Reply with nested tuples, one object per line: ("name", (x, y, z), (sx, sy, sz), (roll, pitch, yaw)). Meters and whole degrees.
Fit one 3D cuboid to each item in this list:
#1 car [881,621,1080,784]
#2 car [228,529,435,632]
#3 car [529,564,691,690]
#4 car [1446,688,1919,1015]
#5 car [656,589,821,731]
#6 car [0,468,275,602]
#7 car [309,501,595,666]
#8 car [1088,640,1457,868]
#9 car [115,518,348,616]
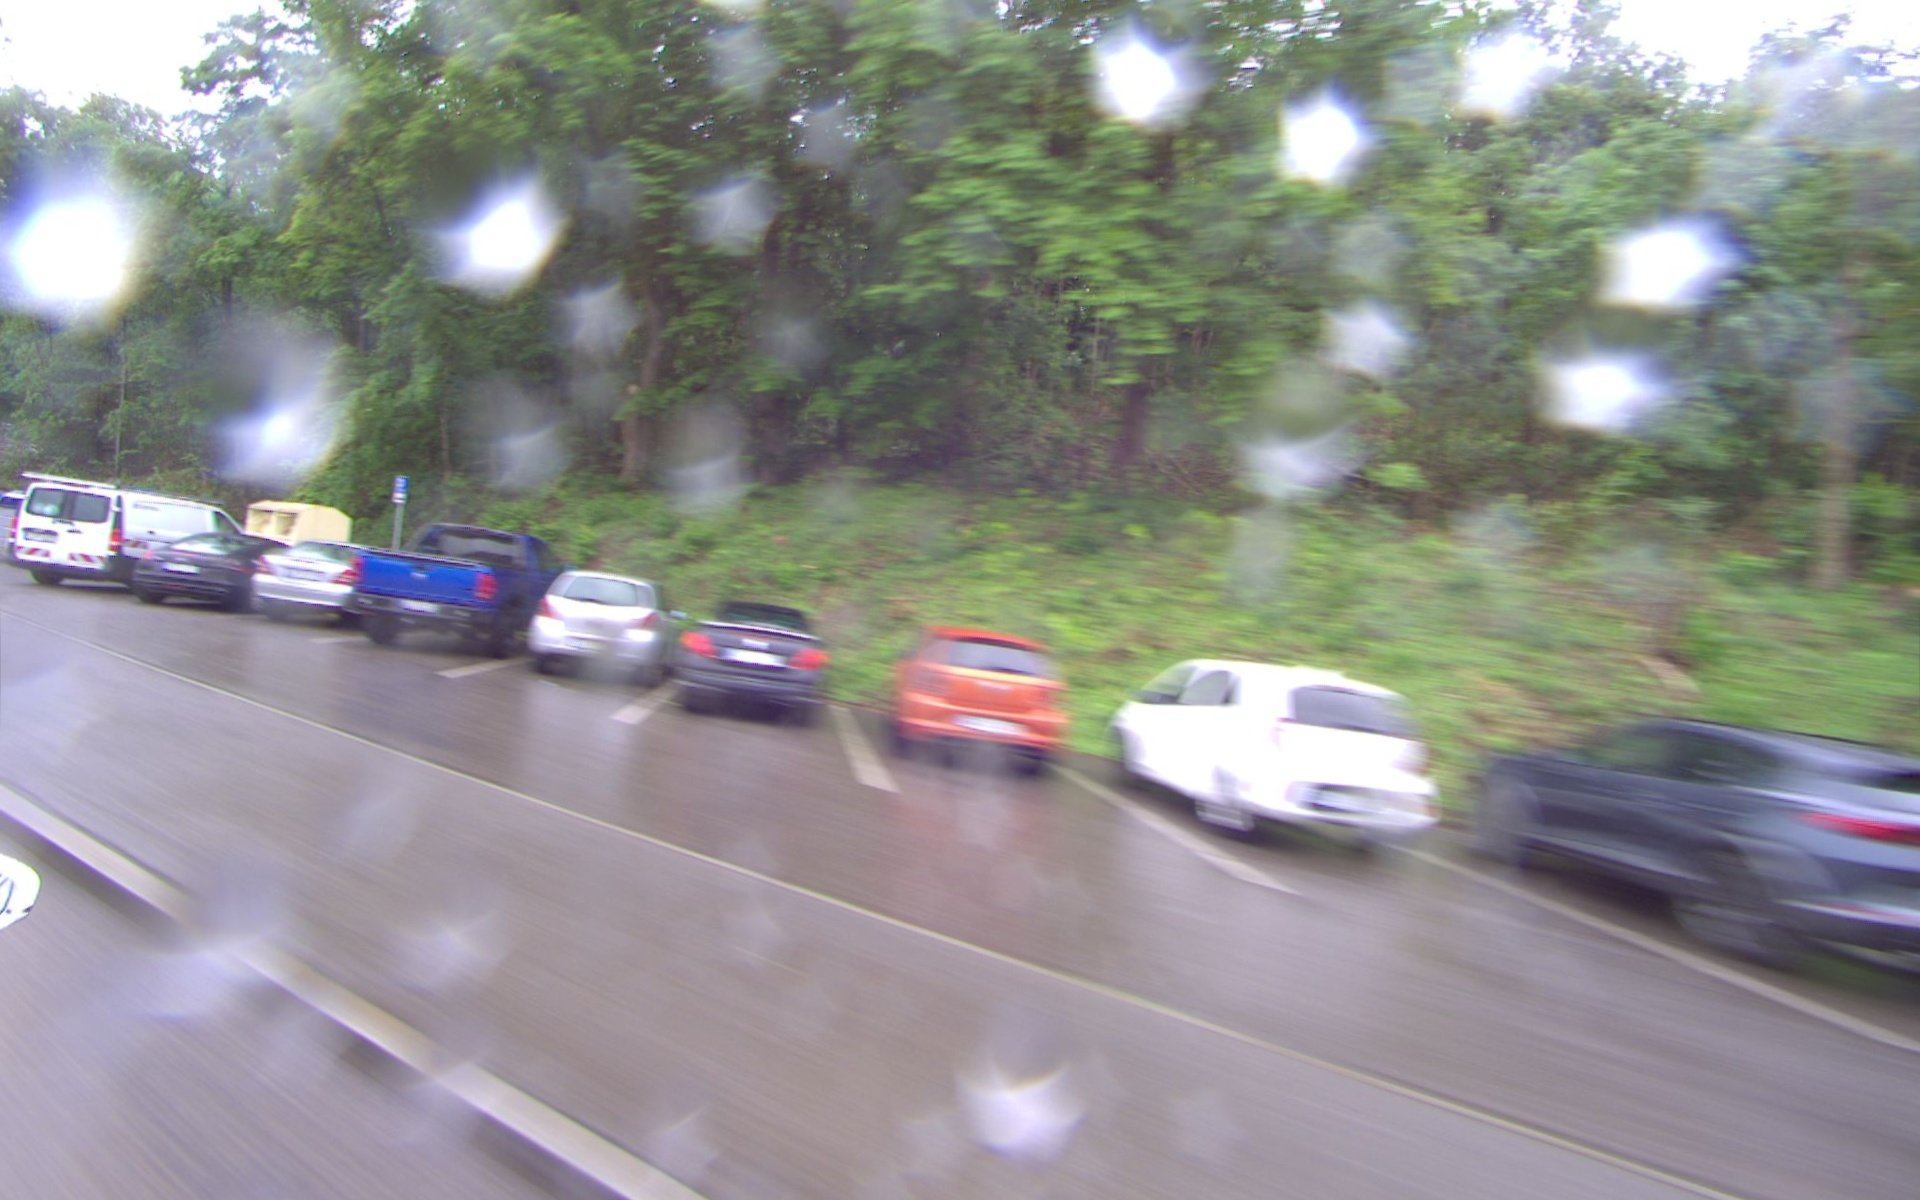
("car", (0.070, 1.076, 11.943), (1.688, 1.418, 3.793), (8, -2, -7))
("car", (-11.052, -0.281, 18.042), (1.599, 1.429, 3.989), (8, -2, -9))
("car", (-5.251, 0.398, 15.583), (1.592, 1.503, 3.908), (8, -2, -10))
("car", (5.884, 1.712, 7.864), (1.722, 1.524, 4.088), (8, -1, -6))
("car", (-2.797, 0.729, 13.447), (1.688, 1.418, 3.840), (8, -2, -8))
("car", (-16.075, -1.129, 19.814), (2.120, 1.962, 4.839), (8, -2, -7))
("car", (-8.048, -0.185, 16.757), (2.291, 1.991, 5.477), (8, -2, -7))
("car", (2.790, 1.339, 9.978), (1.724, 1.497, 3.787), (8, -1, -12))
("car", (-13.077, -0.500, 18.375), (1.732, 1.364, 3.793), (8, -2, -8))
